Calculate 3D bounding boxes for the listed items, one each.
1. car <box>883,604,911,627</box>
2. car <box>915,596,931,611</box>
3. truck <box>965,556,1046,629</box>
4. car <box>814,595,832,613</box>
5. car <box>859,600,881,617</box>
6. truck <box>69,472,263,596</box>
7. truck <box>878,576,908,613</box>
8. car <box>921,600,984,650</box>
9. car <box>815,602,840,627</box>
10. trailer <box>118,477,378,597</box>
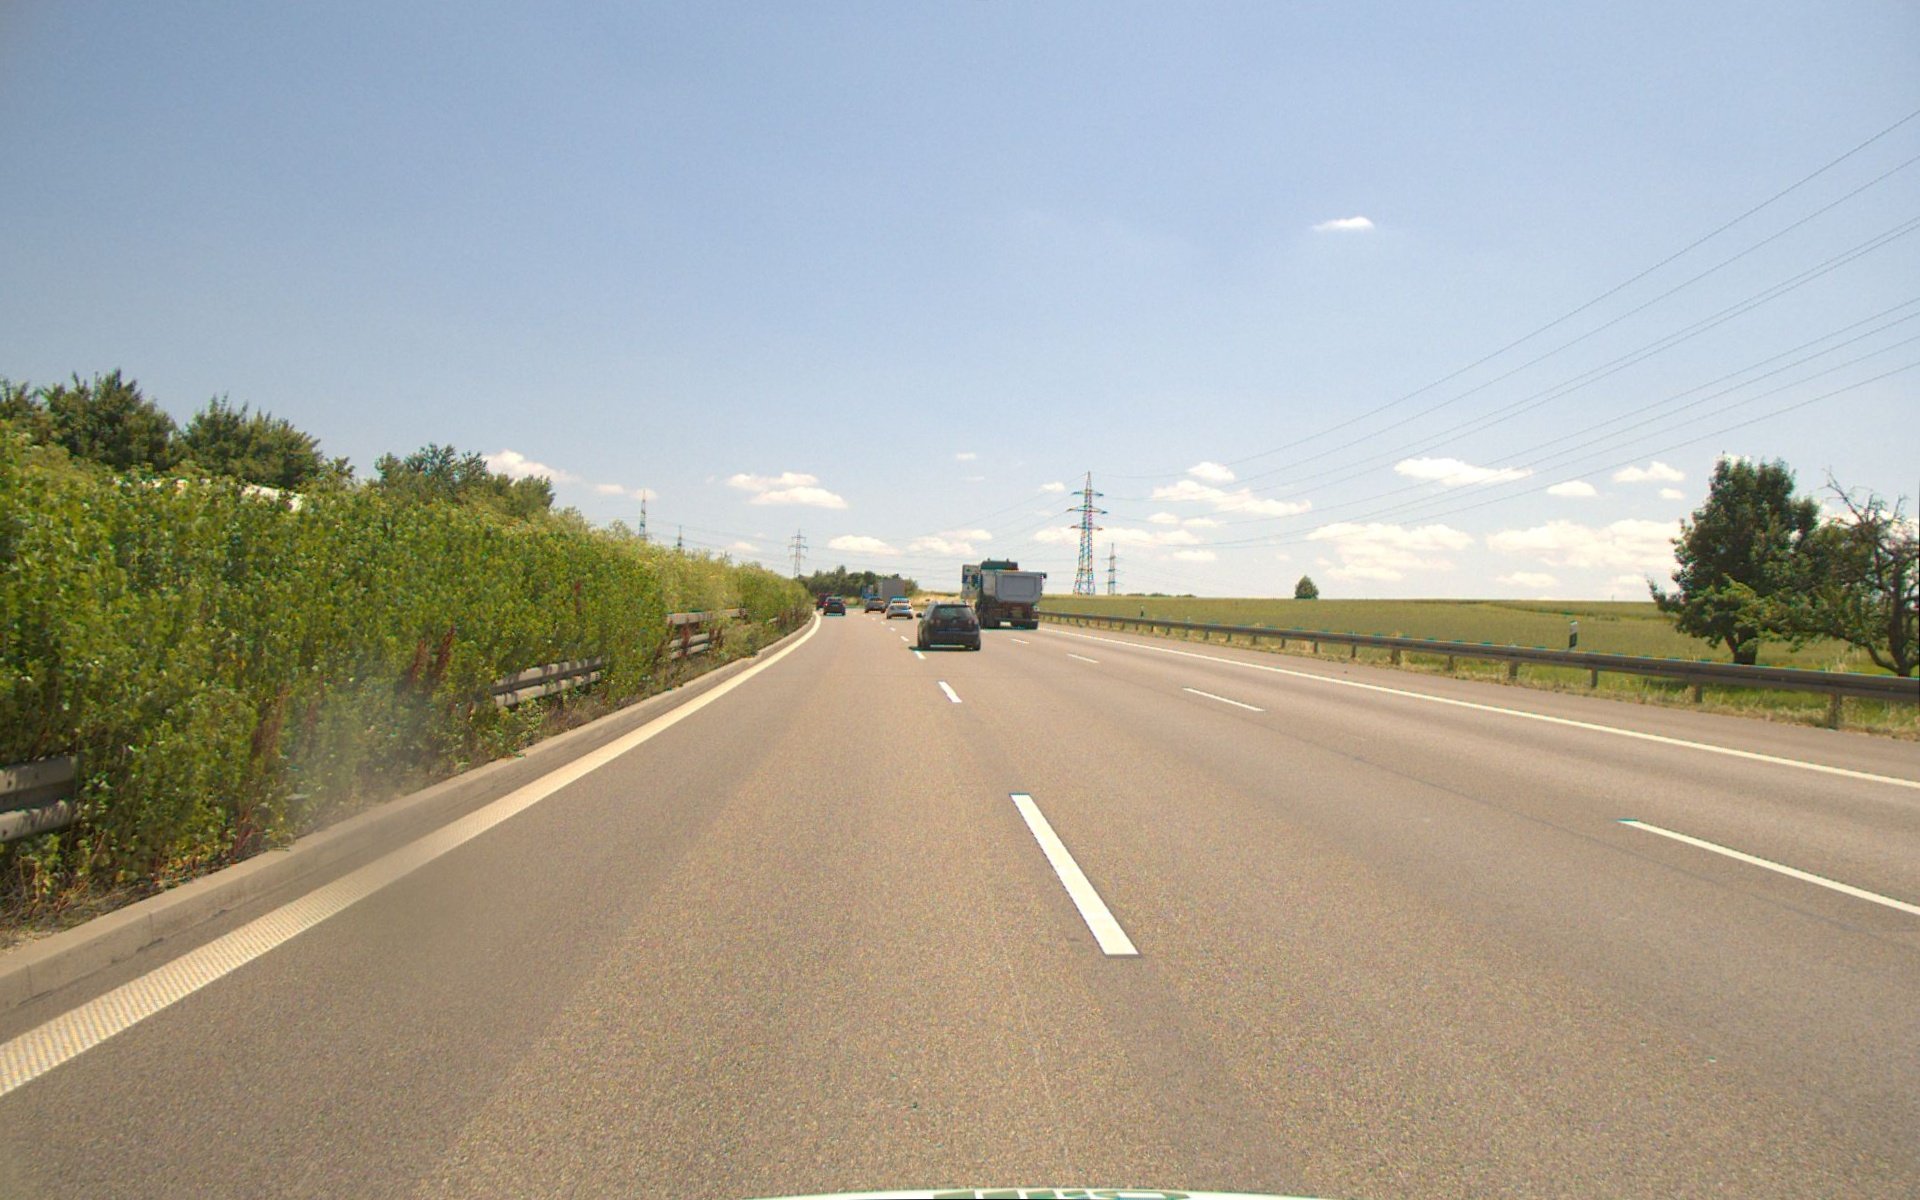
[{"bbox_3d":[-4.481,1.096,117.376,1.784,1.568,3.909,1,0,-6],"label":"car"},{"bbox_3d":[-4.808,0.402,213.240,1.954,1.885,3.997,1,0,-3],"label":"car"},{"bbox_3d":[2.399,-0.370,92.301,2.810,3.789,12.746,1,0,-6],"label":"truck"},{"bbox_3d":[-14.731,0.445,177.851,1.865,1.959,3.995,1,0,-6],"label":"car"},{"bbox_3d":[-8.514,0.801,156.586,1.803,1.568,3.909,1,0,-6],"label":"car"},{"bbox_3d":[-19.292,-1.518,40.467,2.635,2.796,4.642,1,0,-3],"label":"truck"},{"bbox_3d":[-7.859,-0.592,192.498,3.158,3.993,9.052,1,-1,-4],"label":"truck"},{"bbox_3d":[-0.262,0.740,51.025,1.721,1.454,3.997,1,0,-3],"label":"car"},{"bbox_3d":[-10.631,1.162,133.241,1.954,1.892,3.996,1,0,-4],"label":"car"},{"bbox_3d":[-19.642,-1.554,46.761,2.620,2.850,12.306,1,0,-3],"label":"trailer"}]
